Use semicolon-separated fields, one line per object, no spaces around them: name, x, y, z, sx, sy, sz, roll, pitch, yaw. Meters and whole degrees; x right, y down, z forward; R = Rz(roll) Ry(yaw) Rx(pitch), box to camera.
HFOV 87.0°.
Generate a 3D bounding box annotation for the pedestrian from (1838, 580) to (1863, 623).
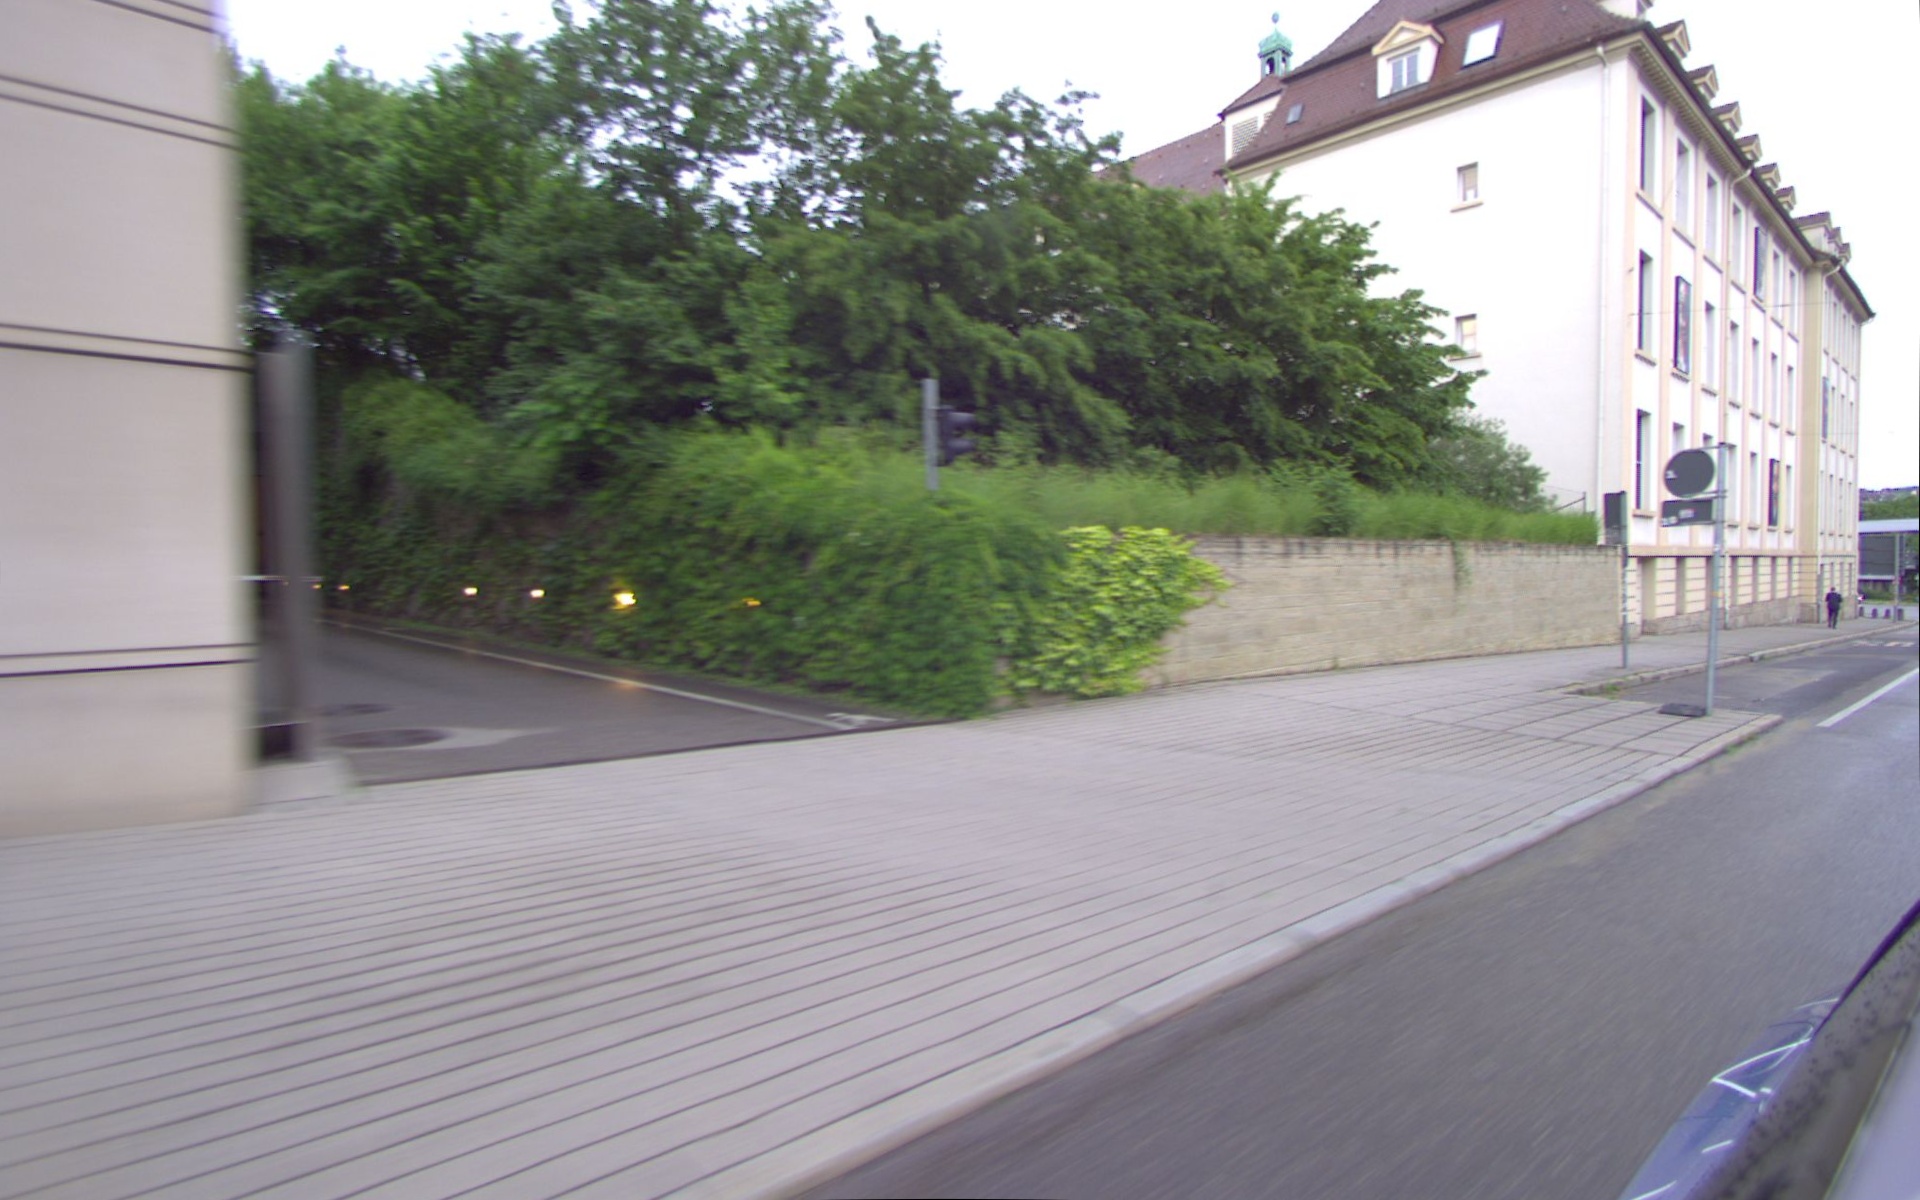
pedestrian;38.305;0.059;43.526;0.837;1.820;0.671;-1;2;-41
